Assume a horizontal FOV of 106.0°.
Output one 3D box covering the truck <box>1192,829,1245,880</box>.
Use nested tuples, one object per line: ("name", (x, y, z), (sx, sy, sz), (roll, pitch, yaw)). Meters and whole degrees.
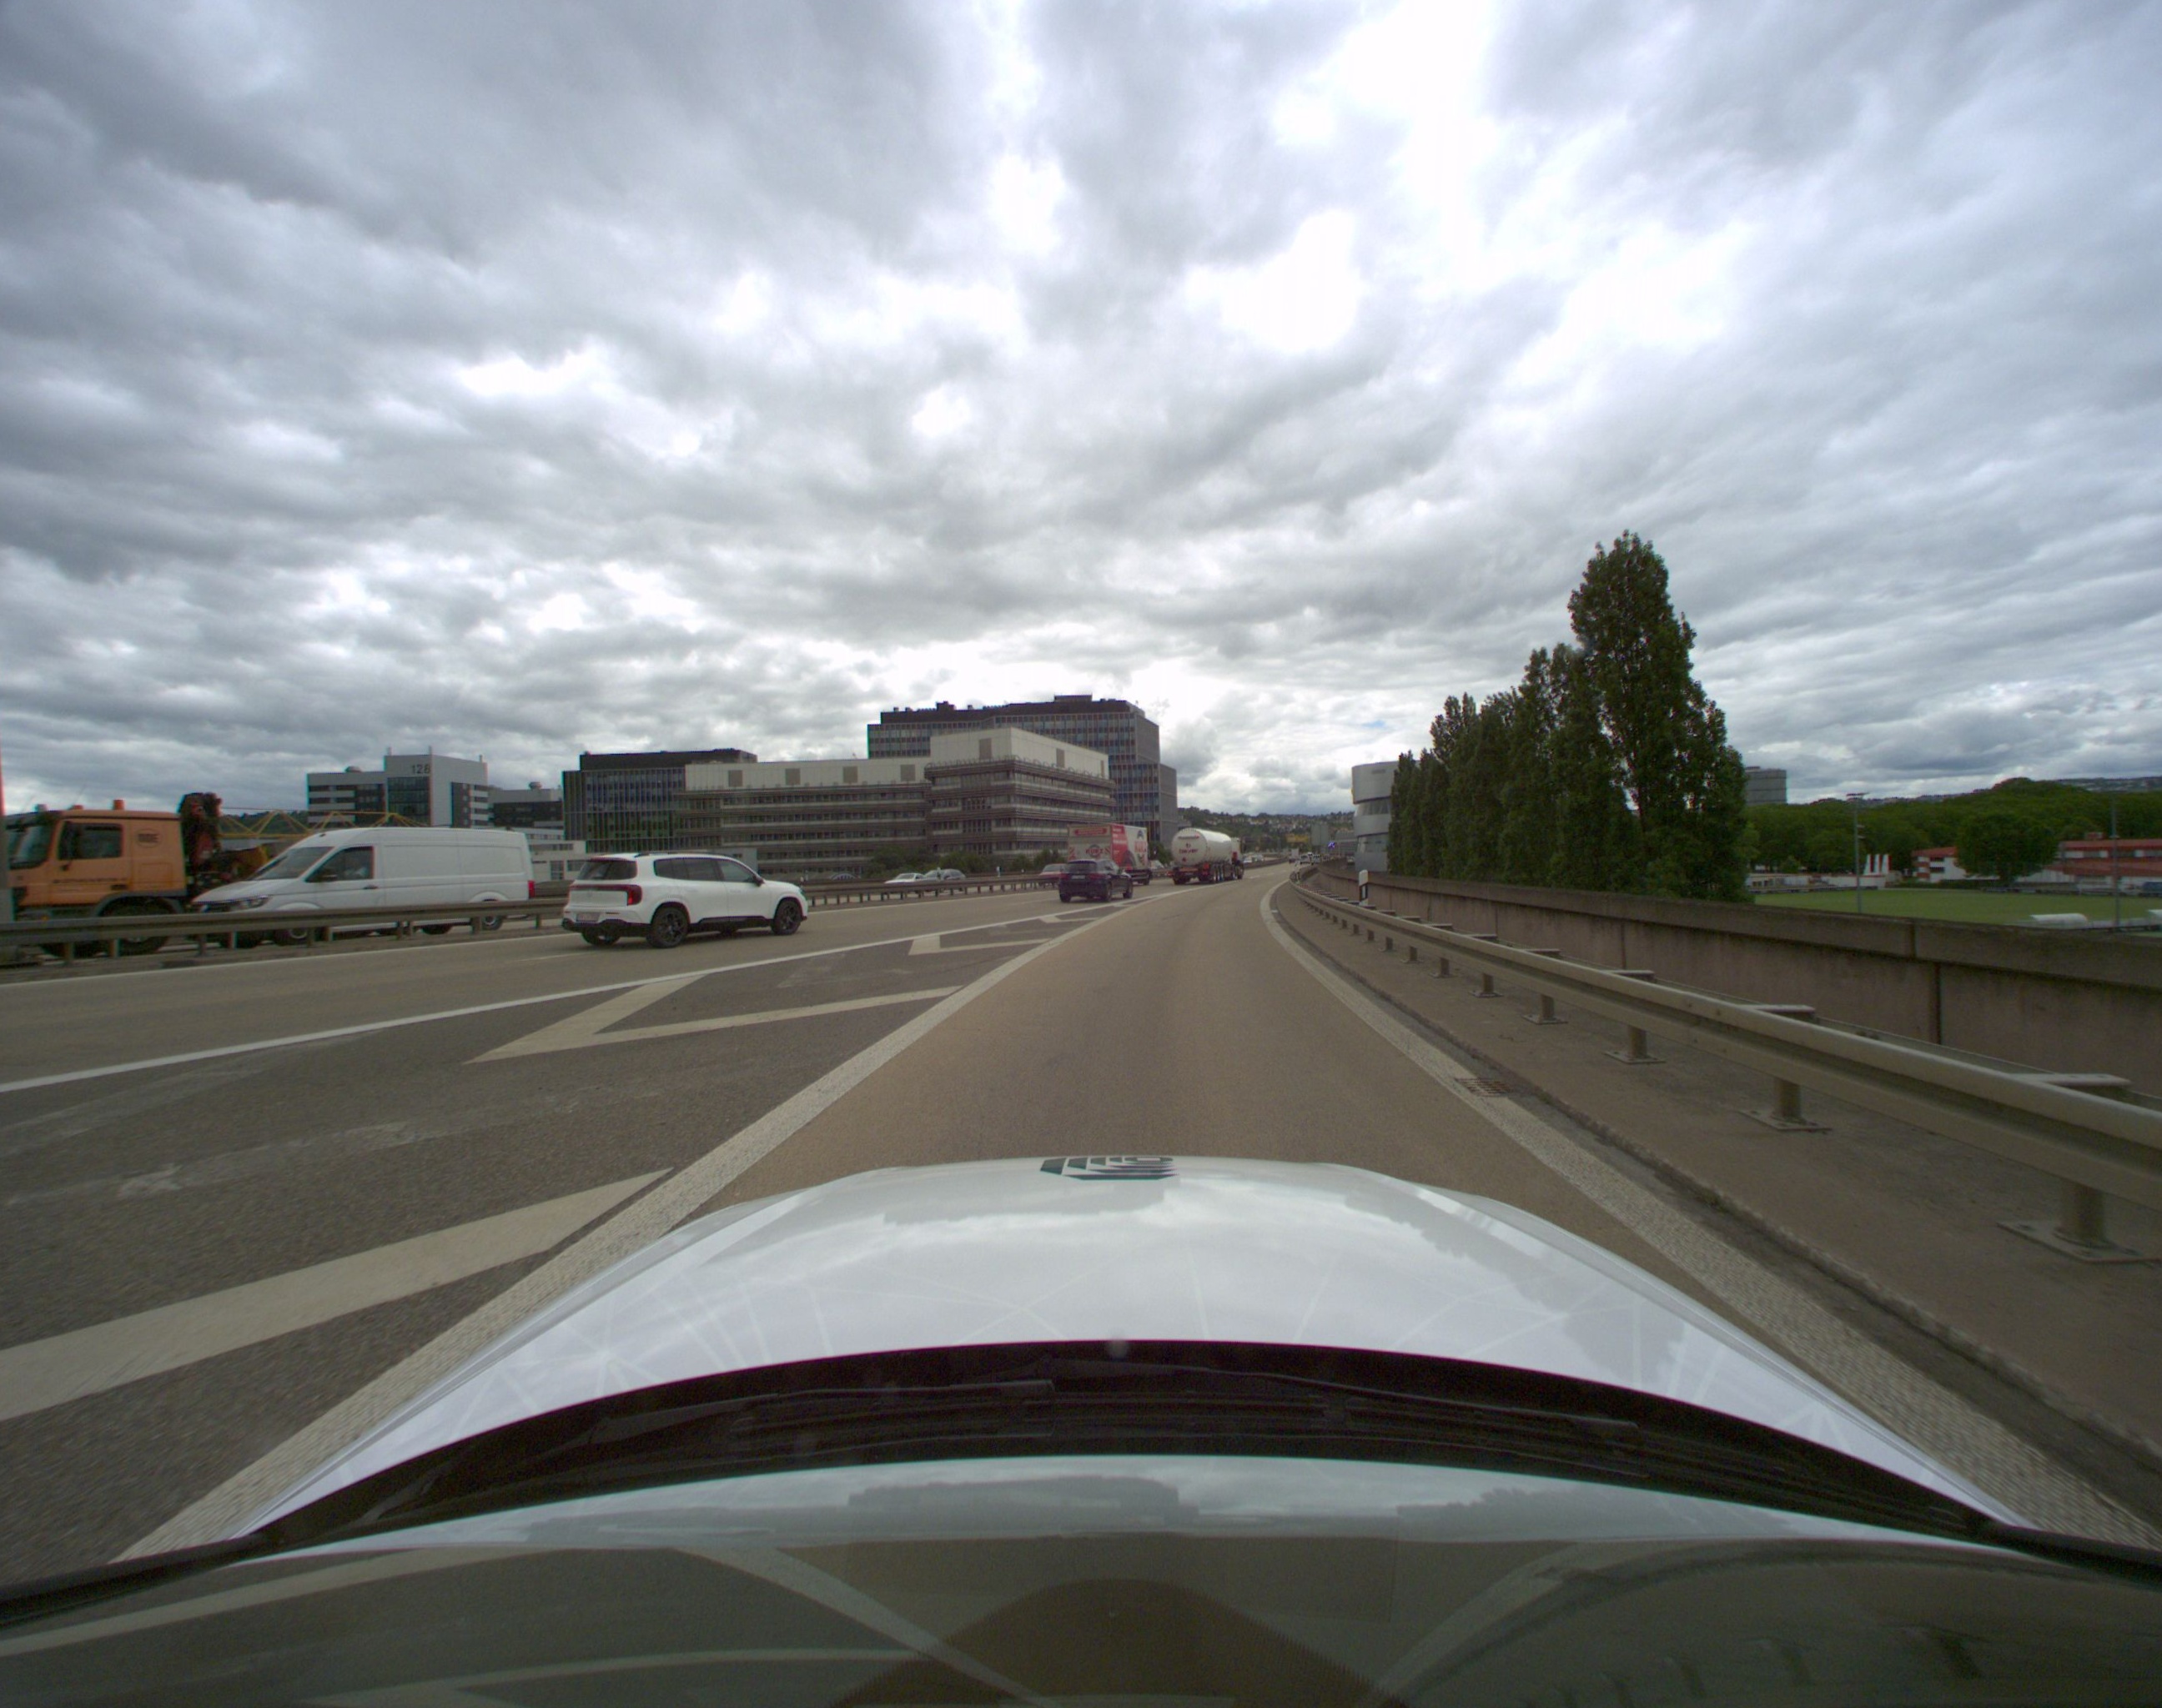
("truck", (10.132, 0.015, 59.505), (2.746, 3.430, 5.994), (-3, -1, 19))

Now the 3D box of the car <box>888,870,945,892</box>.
("car", (-10.851, 1.790, 54.016), (1.628, 1.235, 4.303), (-3, -1, 21))

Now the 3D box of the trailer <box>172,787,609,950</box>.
("trailer", (-18.715, 0.356, 23.348), (2.712, 3.636, 9.399), (-3, -1, 18))

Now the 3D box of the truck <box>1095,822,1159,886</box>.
("truck", (2.936, 0.007, 50.991), (2.669, 3.690, 4.460), (-3, -1, 19))

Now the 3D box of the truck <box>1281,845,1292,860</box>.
("truck", (58.916, -0.451, 233.825), (2.375, 3.893, 5.971), (-3, -1, 19))

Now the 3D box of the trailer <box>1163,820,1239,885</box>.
("trailer", (8.098, -0.099, 53.581), (2.769, 3.737, 11.209), (-3, -1, 19))

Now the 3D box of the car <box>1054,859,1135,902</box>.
("car", (0.596, 0.962, 31.330), (1.831, 1.505, 4.286), (-1, -1, 19))

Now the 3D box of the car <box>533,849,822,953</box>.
("car", (-7.463, 0.791, 15.736), (1.976, 1.668, 4.917), (-2, -1, 21))

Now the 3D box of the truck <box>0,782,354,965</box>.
("truck", (-20.335, 0.420, 18.332), (2.720, 3.480, 5.130), (-3, -1, 18))

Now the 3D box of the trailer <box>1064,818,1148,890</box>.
("trailer", (1.603, 0.011, 47.037), (2.669, 3.690, 7.348), (-3, -1, 18))

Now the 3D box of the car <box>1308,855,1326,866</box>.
("car", (37.197, 1.032, 128.394), (1.976, 1.538, 4.023), (4, 1, 27))

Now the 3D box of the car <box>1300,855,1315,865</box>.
("car", (42.592, 1.112, 153.274), (1.976, 1.538, 4.022), (3, 0, 25))

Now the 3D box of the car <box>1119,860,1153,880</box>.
("car", (4.567, 1.327, 67.452), (1.680, 1.551, 3.661), (-3, -2, 21))

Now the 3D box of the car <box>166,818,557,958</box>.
("car", (-15.946, 0.663, 18.720), (2.557, 2.644, 6.221), (-2, -1, 19))
